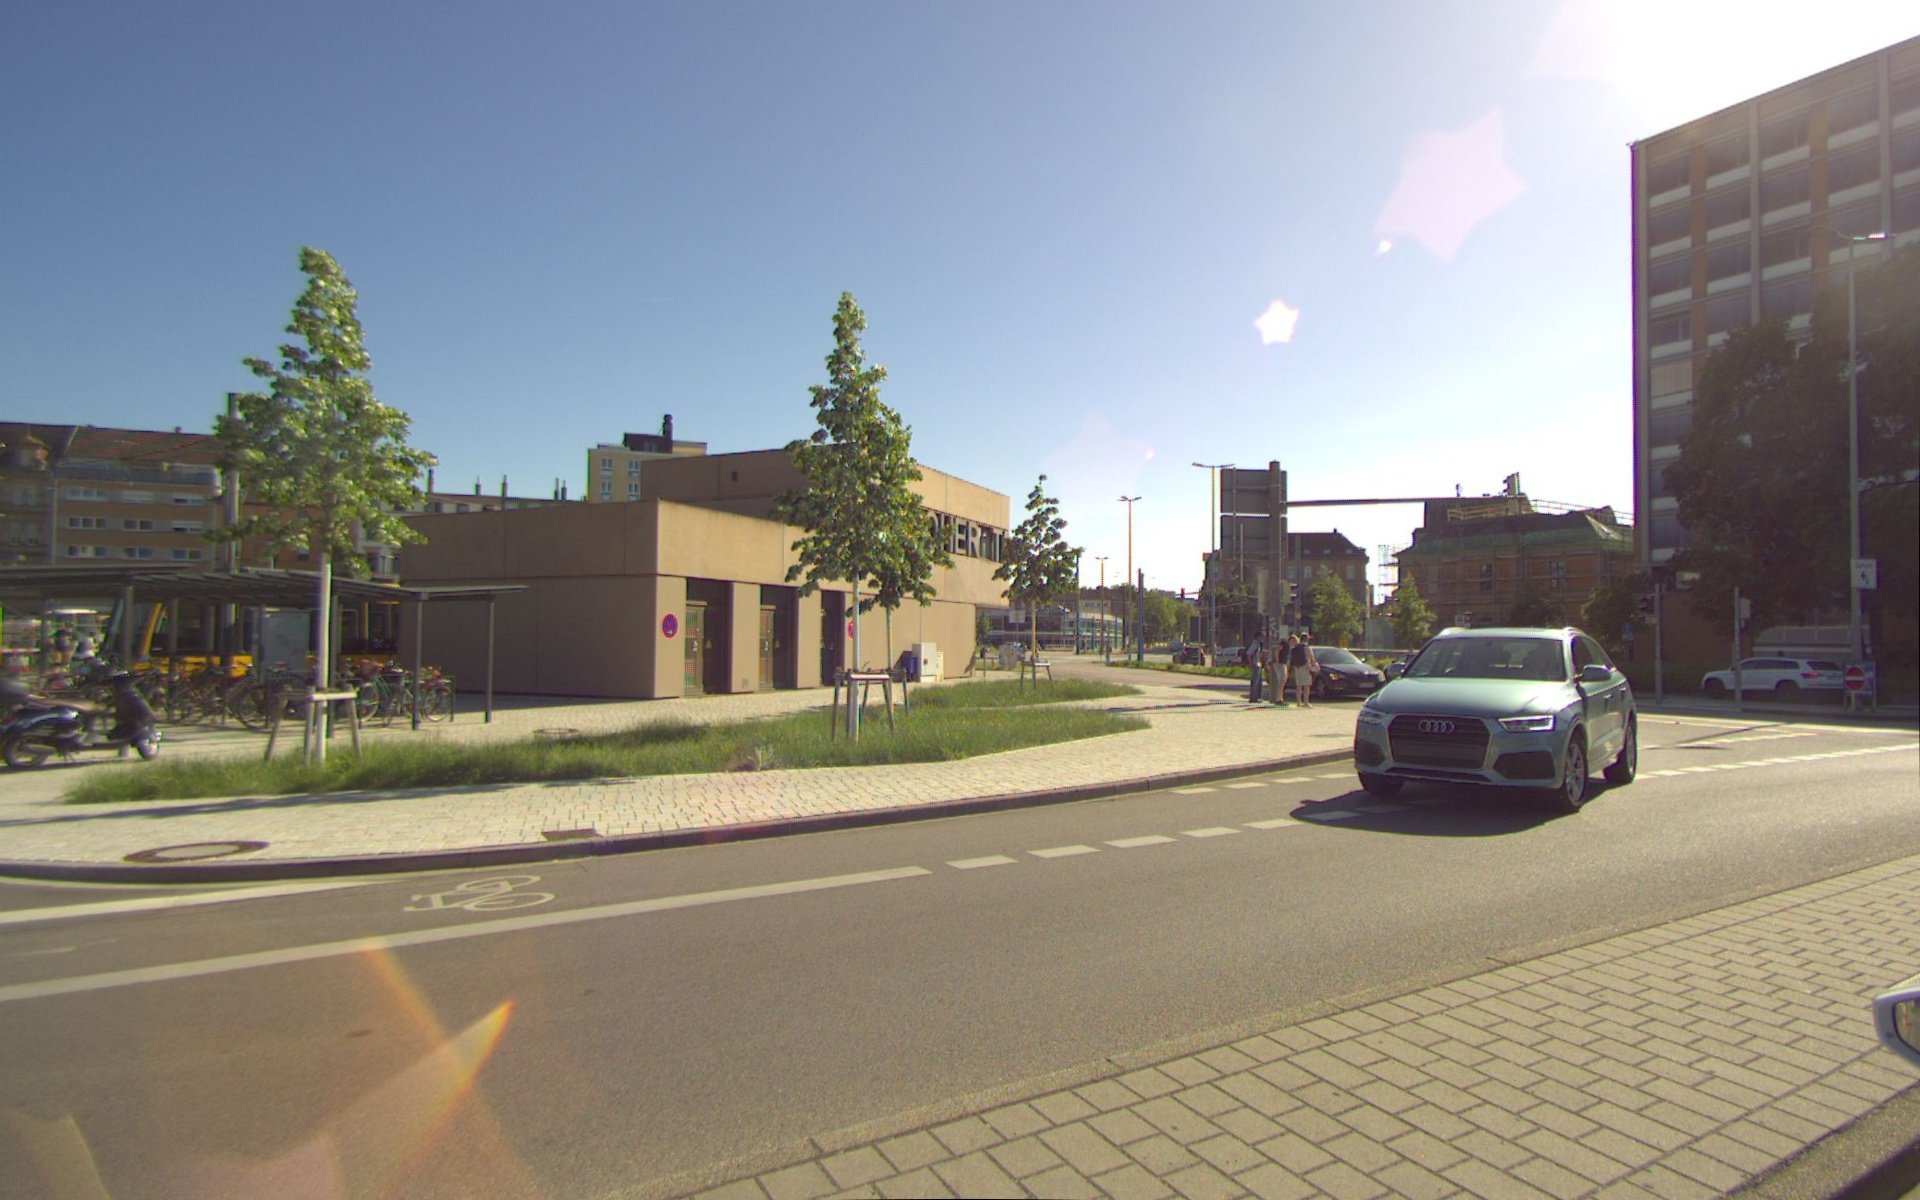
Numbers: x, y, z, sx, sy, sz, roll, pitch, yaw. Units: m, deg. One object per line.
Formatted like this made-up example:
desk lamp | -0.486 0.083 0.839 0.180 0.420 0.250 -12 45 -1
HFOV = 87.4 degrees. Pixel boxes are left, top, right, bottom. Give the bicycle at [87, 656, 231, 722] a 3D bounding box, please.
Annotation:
bicycle | -15.022 1.641 18.907 0.524 1.051 2.070 5 1 26

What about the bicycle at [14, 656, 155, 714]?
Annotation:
bicycle | -17.777 1.698 20.458 0.524 1.051 2.070 5 0 26

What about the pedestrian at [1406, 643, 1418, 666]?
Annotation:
pedestrian | 32.648 3.927 72.593 0.636 1.637 0.548 0 -2 10

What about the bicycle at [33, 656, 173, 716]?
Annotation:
bicycle | -16.888 1.678 19.850 0.524 1.051 2.070 -2 -2 26

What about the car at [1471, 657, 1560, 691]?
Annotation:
car | 27.189 3.607 49.287 1.712 1.454 3.841 3 -2 -12

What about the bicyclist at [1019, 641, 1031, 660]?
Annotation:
bicyclist | 4.817 3.783 74.942 0.674 1.440 1.127 1 -4 -8

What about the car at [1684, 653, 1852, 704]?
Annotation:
car | 30.051 2.872 37.595 1.813 1.653 4.827 1 -2 -13

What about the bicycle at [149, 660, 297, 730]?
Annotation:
bicycle | -12.903 1.630 17.658 0.524 1.051 2.070 2 0 26

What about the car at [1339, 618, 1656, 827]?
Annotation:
car | 5.463 1.055 9.931 1.768 1.602 4.235 -3 -4 42

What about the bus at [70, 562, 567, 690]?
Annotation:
bus | -18.516 0.866 31.191 2.810 3.112 13.620 0 -2 25

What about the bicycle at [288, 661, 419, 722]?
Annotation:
bicycle | -11.768 1.750 19.574 0.679 1.011 2.140 2 0 26

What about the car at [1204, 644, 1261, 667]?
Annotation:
car | 17.551 3.558 64.923 1.810 1.406 4.896 1 -2 -7

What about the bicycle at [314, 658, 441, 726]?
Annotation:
bicycle | -10.802 1.684 18.700 0.594 1.093 2.053 2 0 25

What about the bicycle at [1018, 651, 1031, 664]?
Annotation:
bicycle | 4.803 4.272 74.911 0.674 0.930 1.989 1 -4 -7

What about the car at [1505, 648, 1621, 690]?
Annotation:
car | 25.728 2.918 43.061 1.811 1.653 4.379 1 -2 -11

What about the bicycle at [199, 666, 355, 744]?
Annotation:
bicycle | -10.908 1.650 16.135 0.524 1.051 2.070 2 0 26

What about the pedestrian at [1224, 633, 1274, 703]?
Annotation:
pedestrian | 7.339 1.731 25.493 0.831 1.711 0.896 5 -5 -34

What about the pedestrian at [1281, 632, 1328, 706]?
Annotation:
pedestrian | 8.189 1.649 23.897 0.784 1.711 0.785 6 -6 -44

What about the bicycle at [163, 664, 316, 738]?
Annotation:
bicycle | -11.995 1.653 16.809 0.524 1.051 2.070 2 0 26

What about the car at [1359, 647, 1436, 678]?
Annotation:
car | 21.973 3.124 50.584 1.712 1.454 3.842 1 -2 -10

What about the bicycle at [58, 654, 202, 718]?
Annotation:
bicycle | -15.907 1.624 19.321 0.524 1.051 2.070 5 1 26

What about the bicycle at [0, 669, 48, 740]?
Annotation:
bicycle | -14.205 1.526 14.377 0.399 0.985 1.683 2 0 22

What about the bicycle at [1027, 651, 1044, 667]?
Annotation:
bicycle | 5.030 3.943 67.088 0.727 1.008 1.989 1 -4 -7

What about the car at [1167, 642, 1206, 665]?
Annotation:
car | 16.919 3.967 75.270 1.808 1.653 4.387 1 -2 -2

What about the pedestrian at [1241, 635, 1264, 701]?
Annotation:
pedestrian | 7.879 1.825 27.076 0.585 1.751 0.580 0 -2 14

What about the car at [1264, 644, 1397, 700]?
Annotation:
car | 10.859 2.115 29.856 1.785 1.524 4.783 0 -4 -5

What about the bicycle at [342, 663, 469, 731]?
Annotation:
bicycle | -9.972 1.721 18.163 0.524 1.051 2.070 2 0 26

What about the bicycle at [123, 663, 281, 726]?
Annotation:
bicycle | -13.714 1.678 18.263 0.673 0.956 2.233 2 0 25

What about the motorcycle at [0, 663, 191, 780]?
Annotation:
motorcycle | -10.853 1.447 12.478 0.558 1.235 2.087 0 -1 21

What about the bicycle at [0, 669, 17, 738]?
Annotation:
bicycle | -14.723 1.542 14.426 0.399 0.985 1.683 2 0 22

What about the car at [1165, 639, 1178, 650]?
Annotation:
car | 40.979 8.656 194.648 1.959 2.040 4.003 0 -2 7

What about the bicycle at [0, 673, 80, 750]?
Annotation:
bicycle | -13.235 1.544 13.814 0.399 0.985 1.683 2 0 22

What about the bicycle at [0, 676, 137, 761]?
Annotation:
bicycle | -12.207 1.574 13.580 0.399 0.985 1.683 2 0 22

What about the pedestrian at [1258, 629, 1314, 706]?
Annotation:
pedestrian | 7.987 1.657 24.627 1.084 1.822 0.703 2 -5 -13

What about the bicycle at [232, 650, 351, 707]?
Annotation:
bicycle | -13.922 1.616 20.994 0.524 1.051 2.070 2 0 26

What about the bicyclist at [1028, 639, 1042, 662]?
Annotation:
bicyclist | 5.031 3.397 67.113 0.727 1.519 1.071 1 -3 -7

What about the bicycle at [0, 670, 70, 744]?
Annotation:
bicycle | -13.701 1.532 14.175 0.399 0.985 1.683 2 0 22

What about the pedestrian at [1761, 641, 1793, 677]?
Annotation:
pedestrian | 36.223 2.631 44.542 0.550 1.591 0.861 0 -4 -14

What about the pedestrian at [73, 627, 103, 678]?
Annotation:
pedestrian | -32.578 1.955 37.534 0.520 1.896 0.644 0 -2 24
